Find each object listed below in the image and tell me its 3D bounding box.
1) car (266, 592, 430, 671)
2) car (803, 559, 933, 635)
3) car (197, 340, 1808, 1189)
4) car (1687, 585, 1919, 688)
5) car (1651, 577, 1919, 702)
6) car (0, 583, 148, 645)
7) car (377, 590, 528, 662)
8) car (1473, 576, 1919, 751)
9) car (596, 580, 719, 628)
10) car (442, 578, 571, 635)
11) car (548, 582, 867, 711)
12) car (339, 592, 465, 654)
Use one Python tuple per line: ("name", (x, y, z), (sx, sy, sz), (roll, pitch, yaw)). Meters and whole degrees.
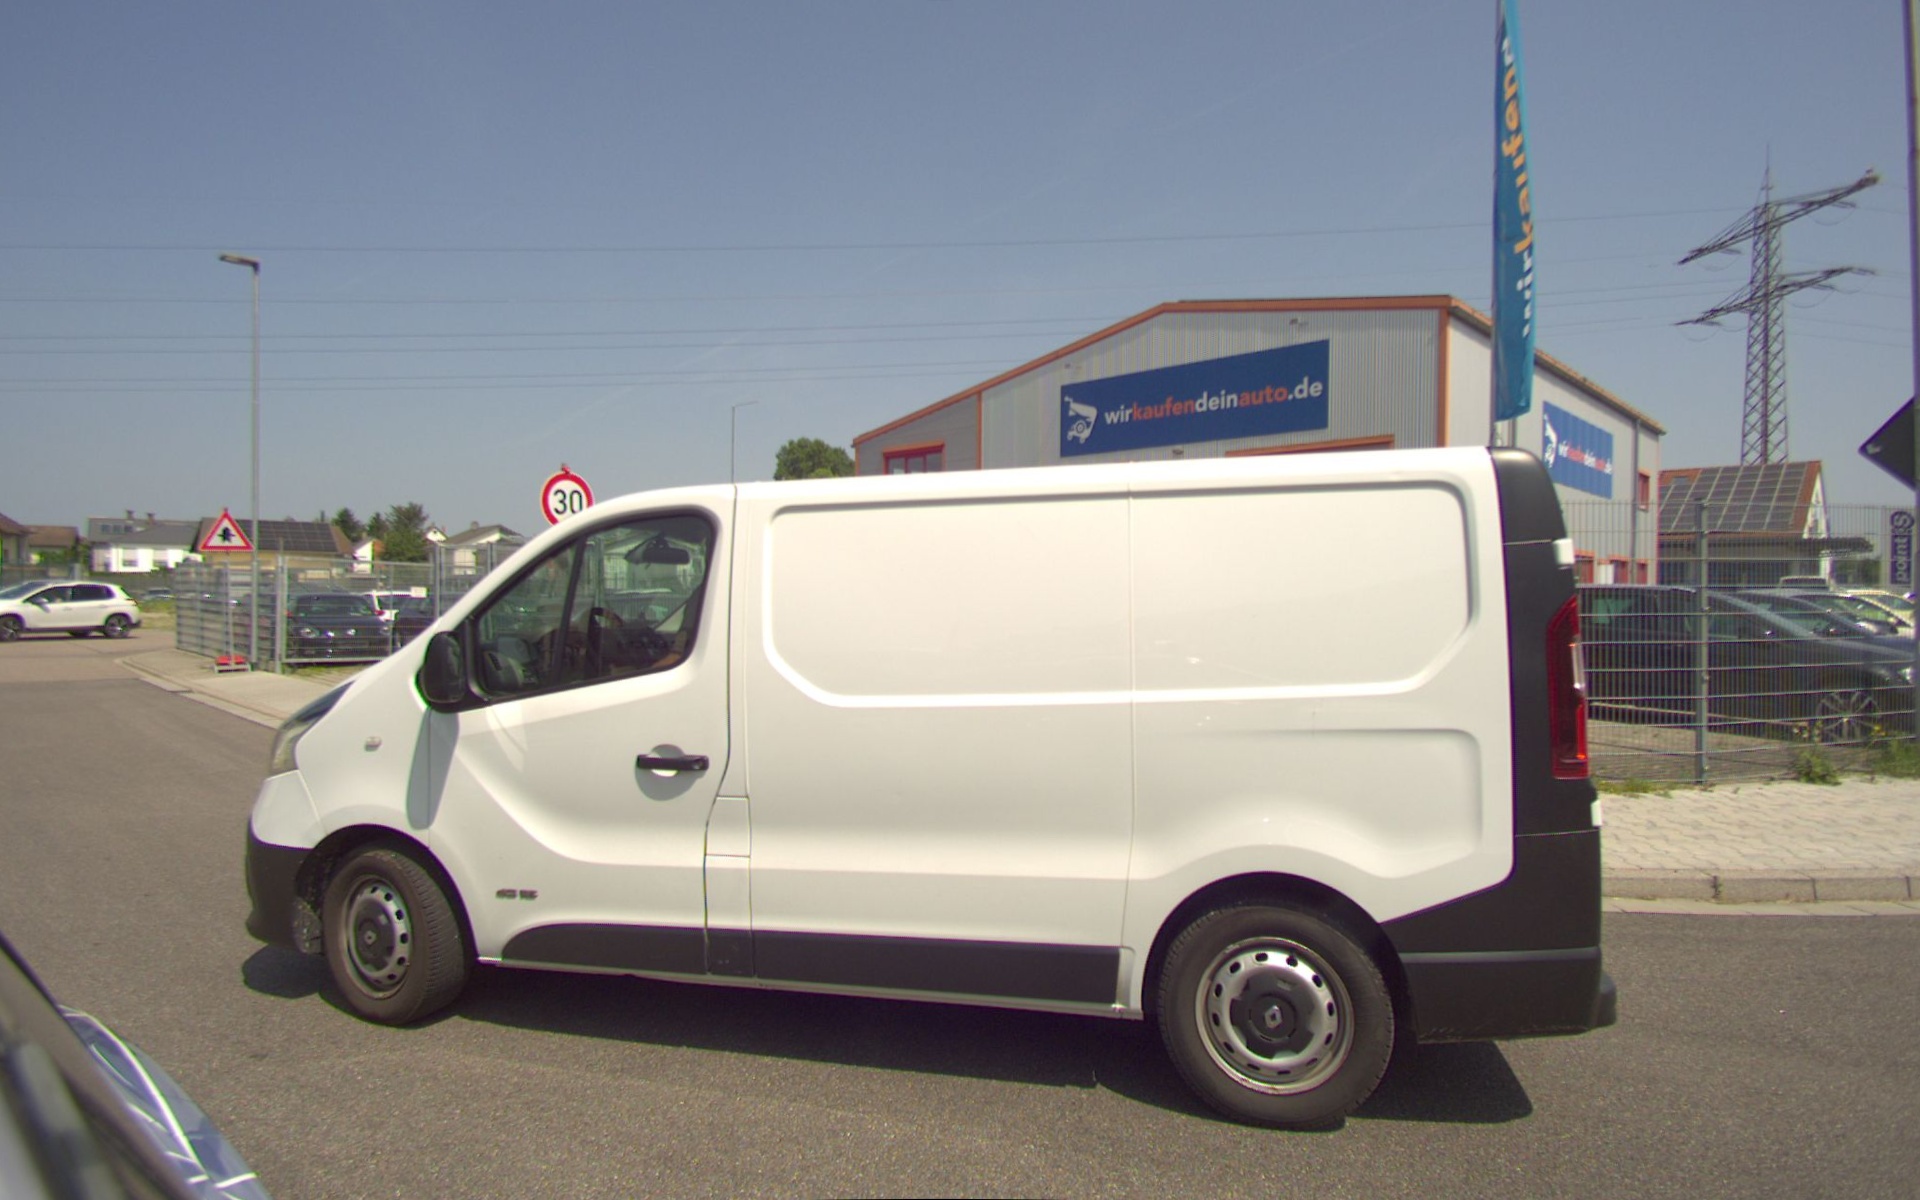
("car", (-13.079, 0.607, 21.548), (3.996, 1.514, 1.752), (0, 1, 40))
("car", (-2.938, -0.100, 31.563), (1.968, 2.212, 4.331), (-1, 0, -38))
("car", (-0.088, 0.442, 3.965), (4.763, 2.076, 2.001), (-1, -2, 12))
("car", (13.473, 0.518, 15.496), (3.460, 1.475, 1.580), (0, 0, 20))
("car", (11.594, 0.477, 13.369), (3.994, 1.514, 1.753), (0, 0, 38))
("car", (-24.060, 0.338, 26.430), (1.763, 1.514, 4.133), (-1, 1, 21))
("car", (-11.878, 0.560, 23.595), (3.807, 1.514, 1.752), (0, 1, 40))
("car", (7.705, 0.546, 10.442), (3.999, 1.514, 1.751), (0, 0, 42))
("car", (-9.684, 0.114, 32.272), (4.199, 1.431, 1.872), (0, 0, 42))
("car", (-12.935, 0.168, 28.782), (3.996, 1.514, 1.752), (0, 1, 40))
("car", (-3.350, 0.526, 13.972), (1.775, 1.514, 3.943), (0, 1, 43))
("car", (-14.845, 0.571, 26.837), (4.000, 1.514, 1.750), (0, 1, 43))
